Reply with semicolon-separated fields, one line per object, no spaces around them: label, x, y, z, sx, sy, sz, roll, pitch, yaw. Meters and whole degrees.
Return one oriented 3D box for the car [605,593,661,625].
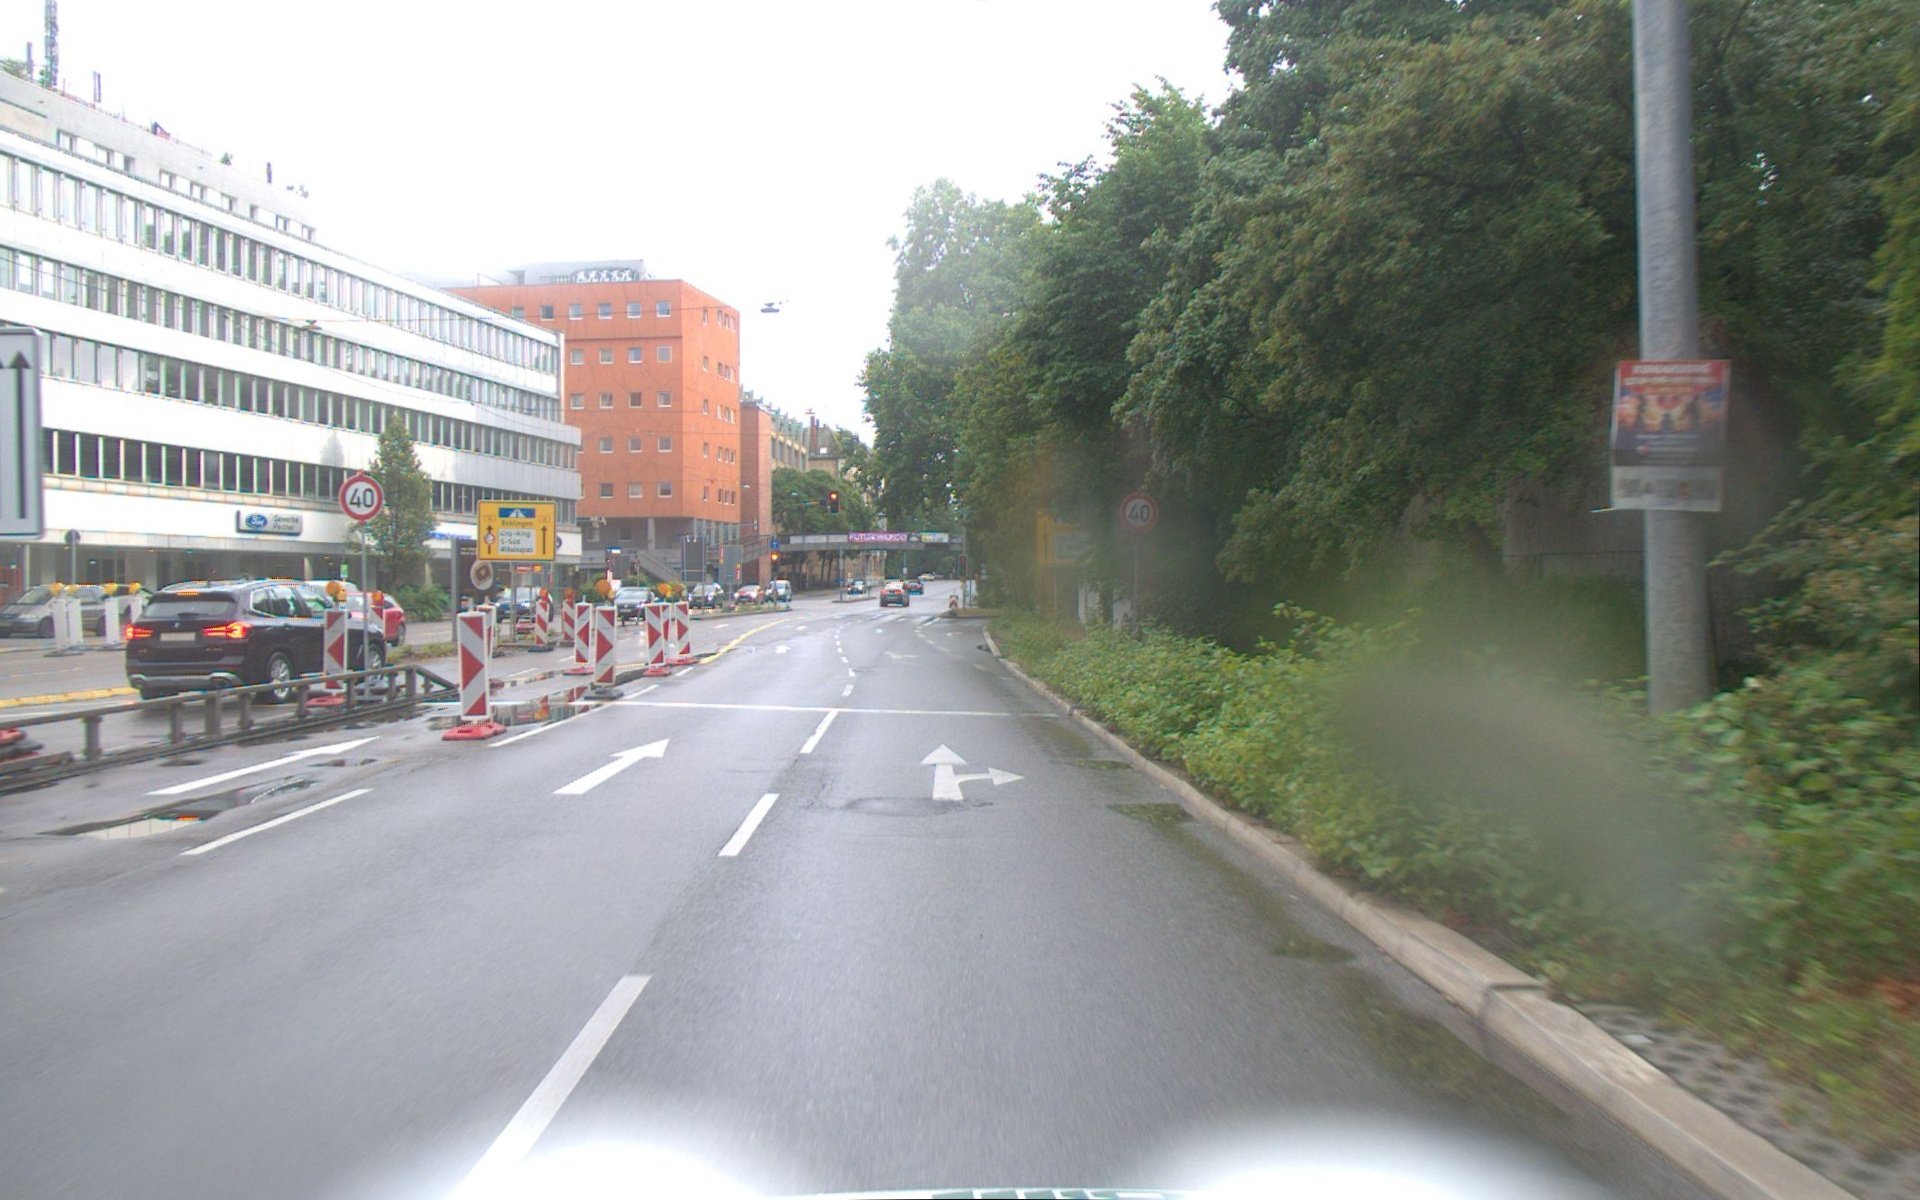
car;-15.042;0.393;76.255;1.654;1.378;4.115;-1;0;1

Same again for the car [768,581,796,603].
car;-14.885;-0.690;138.360;1.698;1.817;4.303;-1;0;2

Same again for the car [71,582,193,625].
car;-34.715;0.125;69.388;4.336;1.680;1.831;-2;0;-35

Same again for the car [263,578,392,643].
car;-18.120;0.276;47.620;1.939;1.737;4.830;-1;0;-2

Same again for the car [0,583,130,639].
car;-30.909;0.358;56.801;1.809;1.810;4.734;-1;0;10

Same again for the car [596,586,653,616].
car;-18.132;0.054;89.563;1.769;1.585;4.304;0;0;6

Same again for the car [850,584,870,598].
car;-11.380;-1.033;188.791;1.952;1.545;4.001;0;0;1

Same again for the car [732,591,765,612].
car;-16.055;0.128;125.790;1.791;1.528;4.374;-1;0;2

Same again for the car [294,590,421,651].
car;-15.006;0.475;41.401;1.700;1.428;4.288;0;0;-2

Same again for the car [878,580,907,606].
car;-5.112;-0.560;125.104;2.078;1.765;4.198;2;2;-1

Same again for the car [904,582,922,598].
car;-5.173;-1.117;182.948;1.727;1.726;3.706;-1;0;1

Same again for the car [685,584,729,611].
car;-16.883;-0.180;110.623;1.806;1.768;4.607;-1;0;5

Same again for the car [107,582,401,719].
car;-9.850;0.616;23.537;1.906;1.625;4.673;2;2;4

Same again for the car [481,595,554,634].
car;-18.635;0.602;69.828;1.715;1.540;4.002;-1;0;5

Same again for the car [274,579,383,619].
car;-32.939;-0.055;86.368;4.947;1.930;1.969;-2;0;-42
